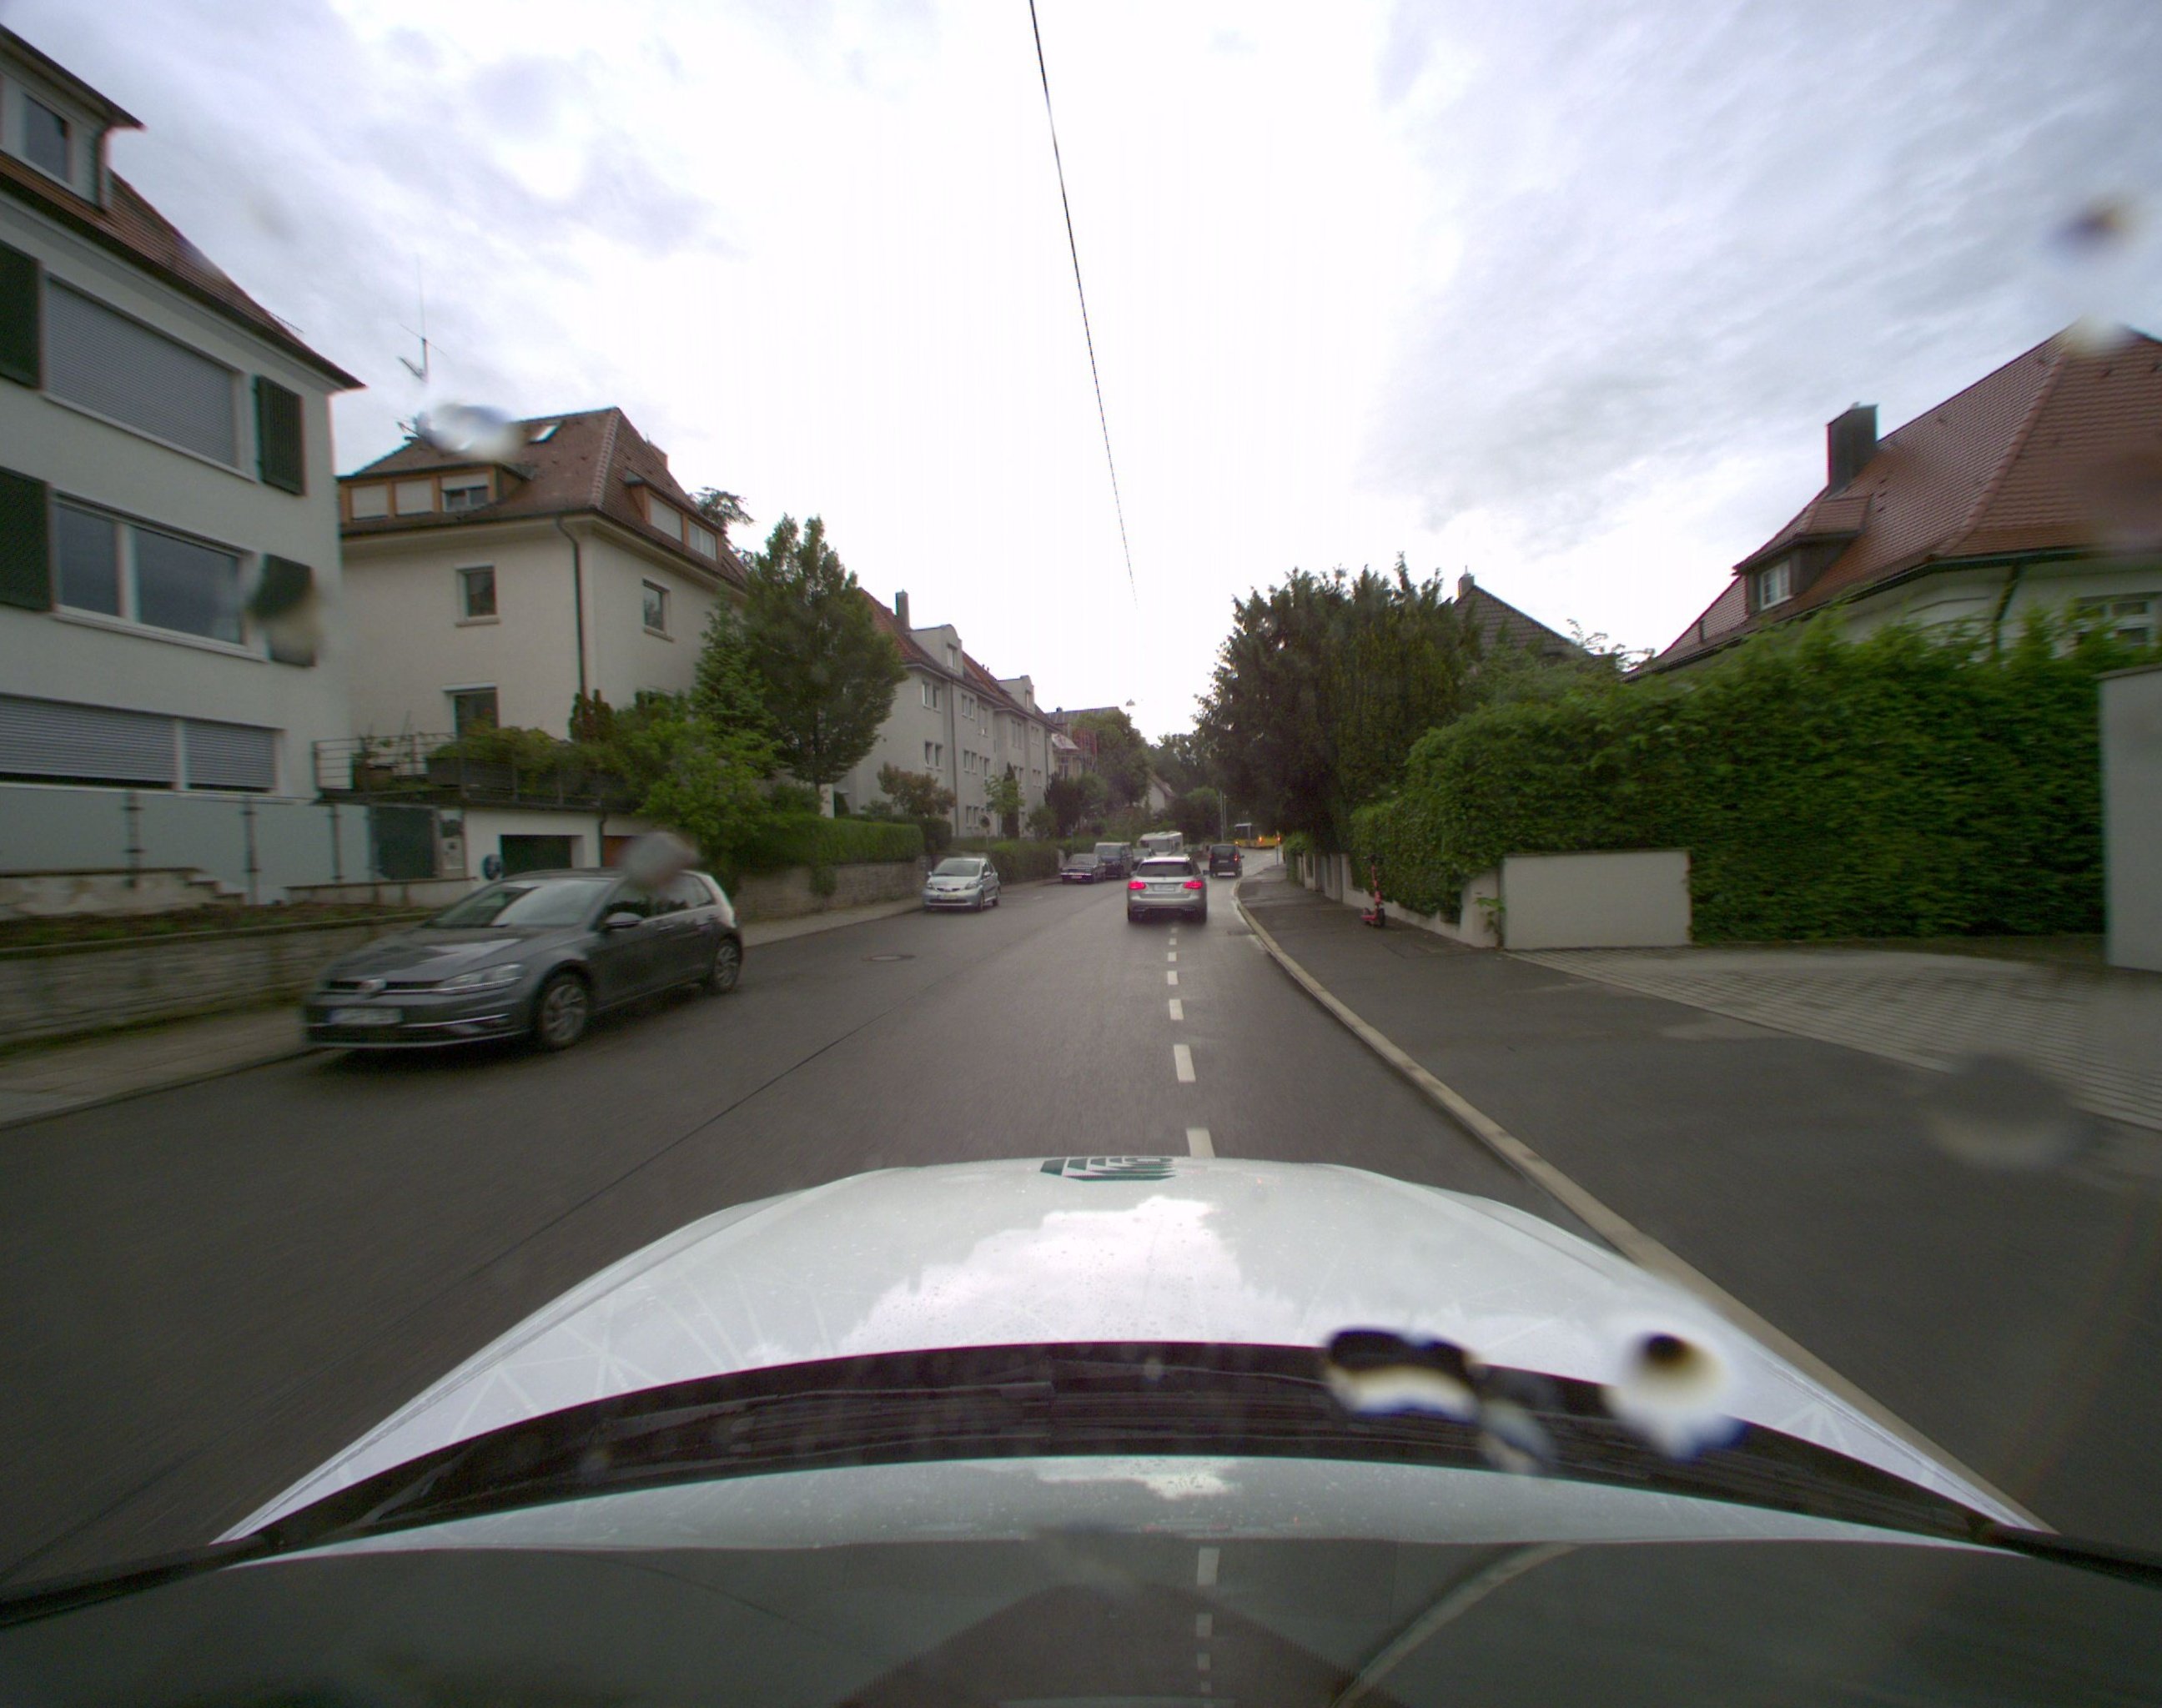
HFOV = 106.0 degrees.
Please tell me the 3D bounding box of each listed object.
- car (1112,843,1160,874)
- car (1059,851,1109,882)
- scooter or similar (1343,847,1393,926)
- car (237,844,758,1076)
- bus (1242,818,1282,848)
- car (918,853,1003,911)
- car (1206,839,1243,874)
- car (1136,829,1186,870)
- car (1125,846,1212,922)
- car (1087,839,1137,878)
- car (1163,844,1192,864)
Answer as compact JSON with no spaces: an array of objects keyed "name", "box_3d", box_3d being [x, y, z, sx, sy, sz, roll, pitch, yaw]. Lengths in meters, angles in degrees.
[{"name":"car","box_3d":[3.591,0.235,52.005,1.978,1.688,4.699,0,3,17]},{"name":"car","box_3d":[0.232,0.587,40.752,1.633,1.417,4.627,-1,1,11]},{"name":"scooter or similar","box_3d":[5.044,0.545,14.362,0.447,1.307,1.484,-3,0,6]},{"name":"car","box_3d":[-4.930,0.713,7.780,1.784,1.580,4.143,1,1,4]},{"name":"bus","box_3d":[23.640,-2.892,106.970,2.919,3.650,10.168,-1,3,0]},{"name":"car","box_3d":[-3.342,0.749,23.186,1.597,1.486,3.492,-1,0,5]},{"name":"car","box_3d":[8.249,0.135,46.663,1.830,1.903,4.015,-1,0,13]},{"name":"car","box_3d":[5.910,-0.377,59.468,2.372,2.771,6.562,0,2,17]},{"name":"car","box_3d":[2.103,0.626,19.199,1.806,1.556,4.009,-1,1,7]},{"name":"car","box_3d":[1.795,0.223,45.905,1.816,2.056,5.029,-1,0,14]},{"name":"car","box_3d":[7.701,-0.037,64.901,1.699,1.447,3.270,0,3,17]}]
